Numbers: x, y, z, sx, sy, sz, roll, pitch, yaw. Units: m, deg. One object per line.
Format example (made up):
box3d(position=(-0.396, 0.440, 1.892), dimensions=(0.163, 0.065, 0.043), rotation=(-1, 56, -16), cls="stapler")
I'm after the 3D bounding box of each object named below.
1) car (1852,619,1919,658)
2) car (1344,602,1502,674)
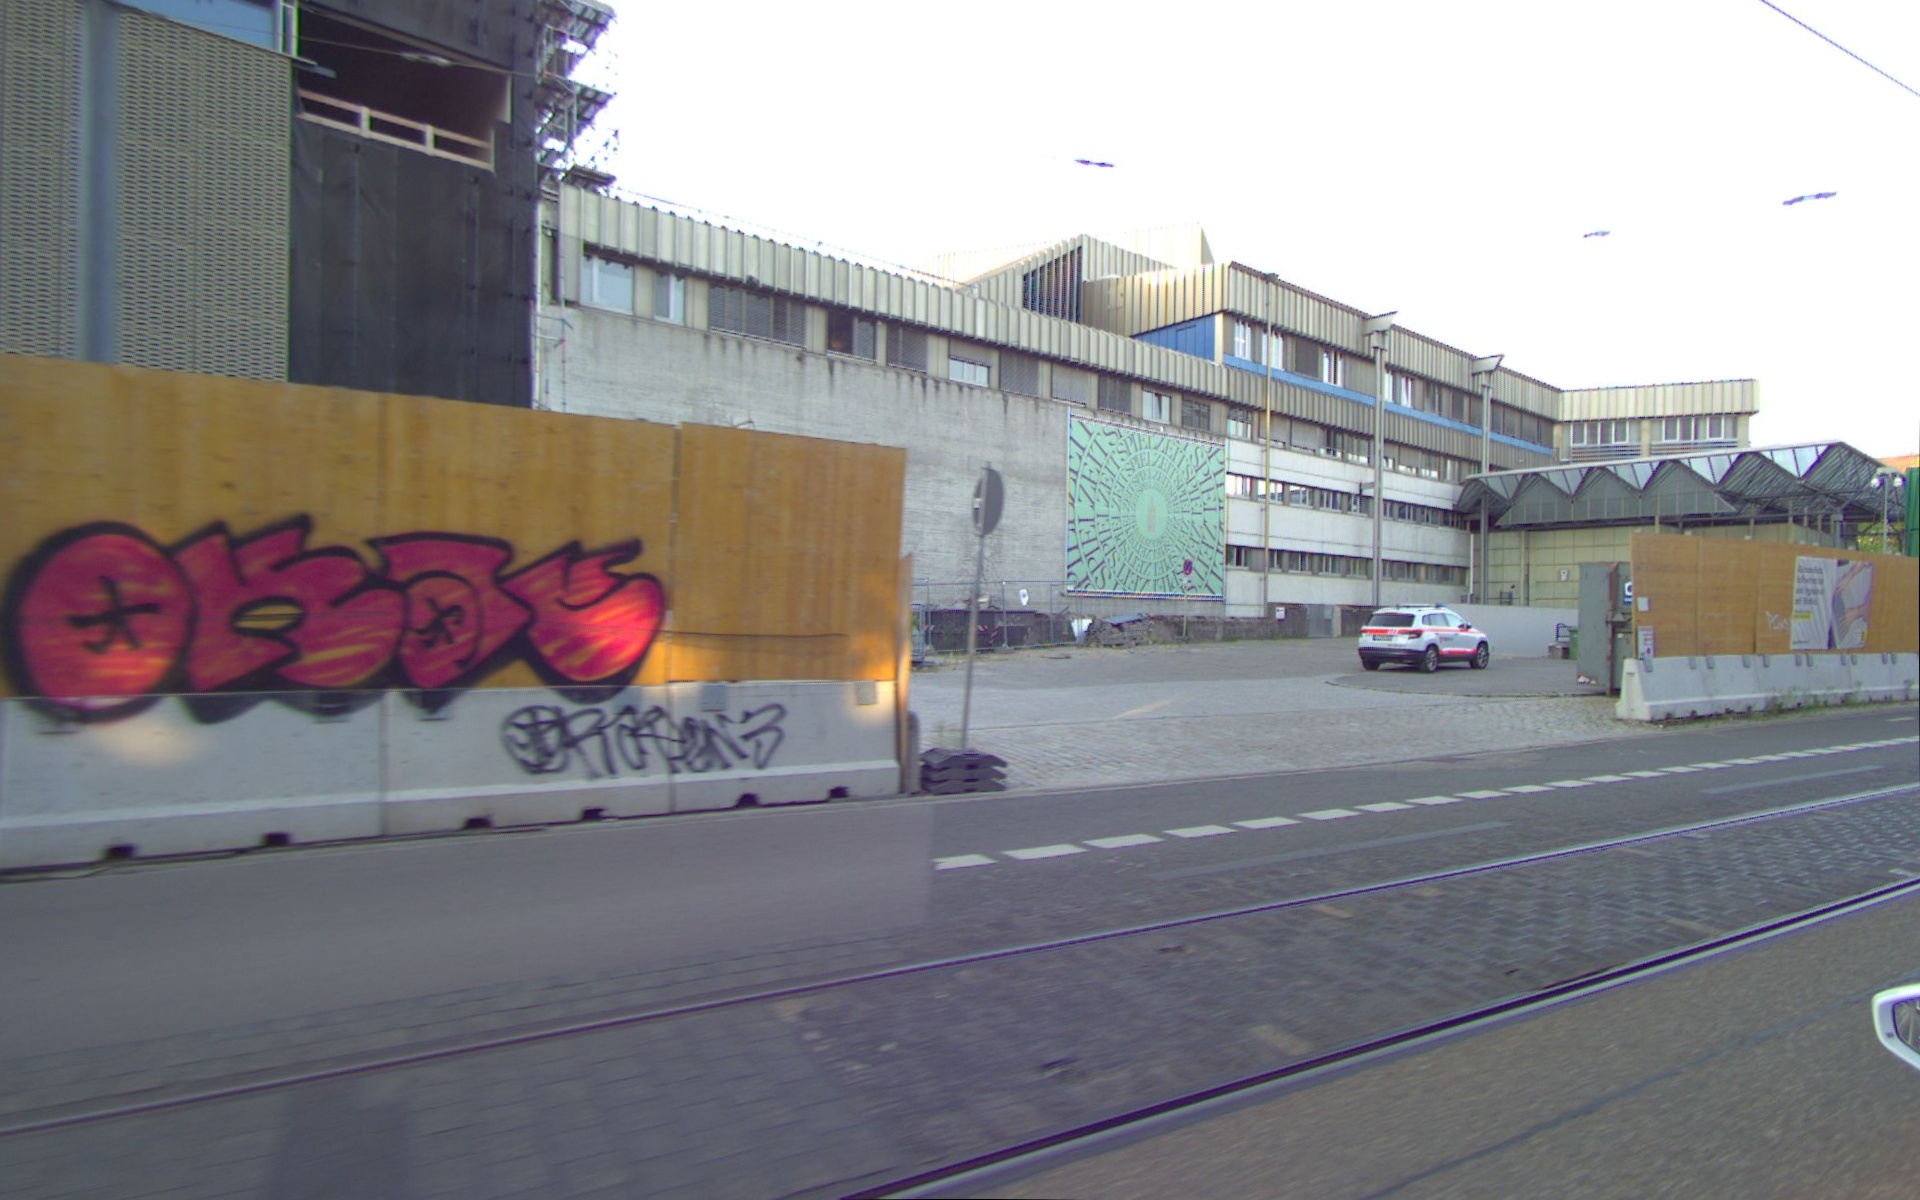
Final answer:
box3d(position=(38.833, 1.585, 40.475), dimensions=(1.707, 1.421, 3.995), rotation=(1, 2, -14), cls="car")
box3d(position=(12.101, 0.953, 26.175), dimensions=(4.240, 1.686, 1.979), rotation=(1, 0, -37), cls="car")
